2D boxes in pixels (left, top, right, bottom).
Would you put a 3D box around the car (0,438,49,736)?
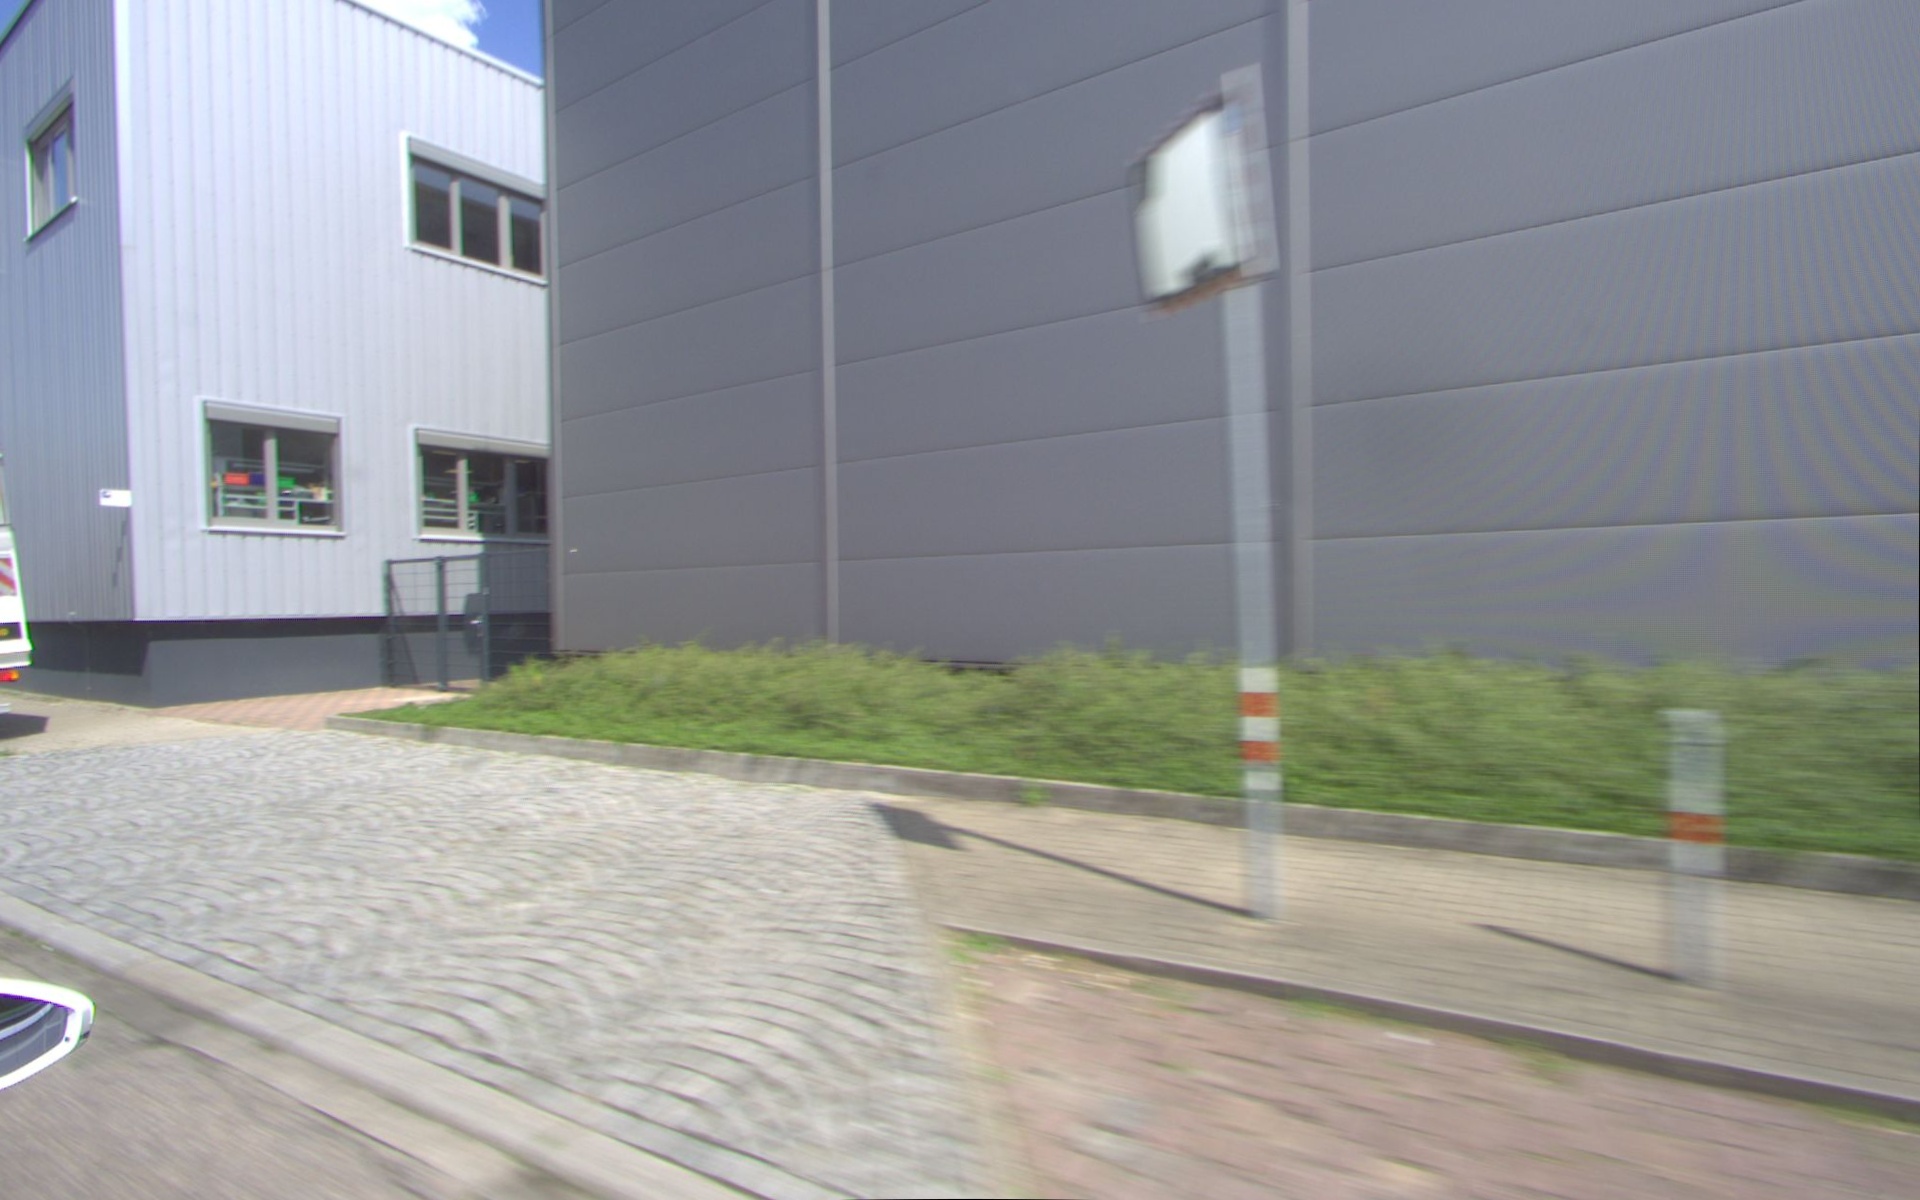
[{"bbox_3d":[-14.249,-0.058,12.339,6.545,3.409,2.384,-1,2,29],"label":"car"}]
